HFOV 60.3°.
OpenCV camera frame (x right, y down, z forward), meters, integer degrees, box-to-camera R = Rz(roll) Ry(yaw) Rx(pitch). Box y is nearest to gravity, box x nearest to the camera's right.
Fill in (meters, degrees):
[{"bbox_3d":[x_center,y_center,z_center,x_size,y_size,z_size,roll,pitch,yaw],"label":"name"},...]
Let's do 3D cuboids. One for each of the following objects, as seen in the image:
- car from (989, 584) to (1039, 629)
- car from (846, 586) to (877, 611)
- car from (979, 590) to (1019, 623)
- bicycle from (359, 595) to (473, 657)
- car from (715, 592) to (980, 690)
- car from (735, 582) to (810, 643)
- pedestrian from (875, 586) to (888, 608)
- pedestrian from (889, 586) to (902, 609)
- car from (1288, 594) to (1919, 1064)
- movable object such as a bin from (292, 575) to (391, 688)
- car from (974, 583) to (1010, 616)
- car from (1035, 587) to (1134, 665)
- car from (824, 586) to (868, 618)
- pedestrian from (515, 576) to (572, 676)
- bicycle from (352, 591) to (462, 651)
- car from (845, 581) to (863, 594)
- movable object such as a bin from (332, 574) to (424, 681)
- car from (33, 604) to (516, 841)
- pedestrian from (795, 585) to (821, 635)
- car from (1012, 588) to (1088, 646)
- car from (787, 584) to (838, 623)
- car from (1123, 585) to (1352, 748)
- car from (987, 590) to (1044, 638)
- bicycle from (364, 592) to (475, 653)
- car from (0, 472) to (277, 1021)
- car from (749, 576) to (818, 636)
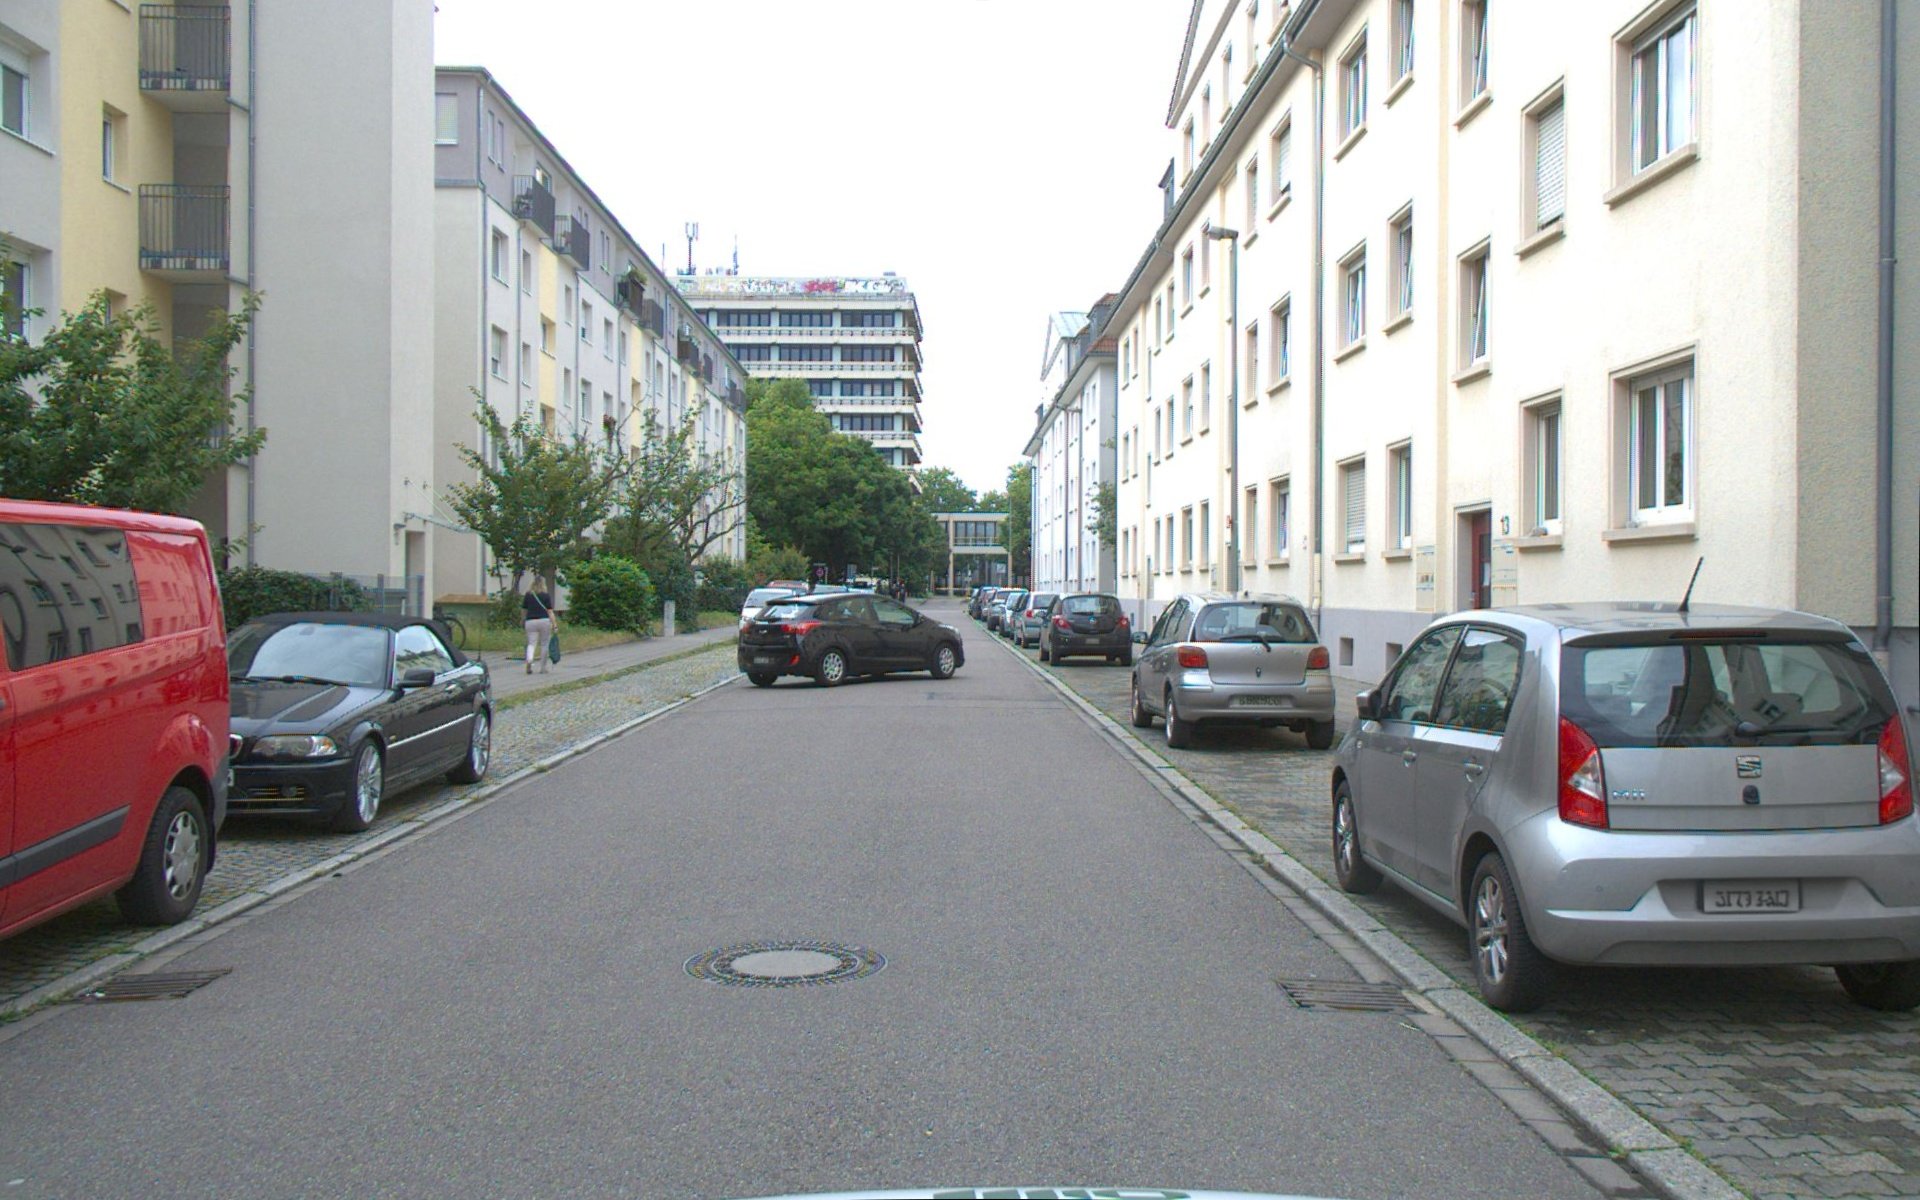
[{"bbox_3d":[2.051,0.235,64.128,1.783,1.671,4.091,1,0,0],"label":"car"},{"bbox_3d":[-6.401,-0.095,108.180,1.954,1.568,3.998,1,0,-3],"label":"car"},{"bbox_3d":[1.870,0.284,80.185,1.783,1.529,4.091,1,0,0],"label":"car"},{"bbox_3d":[-10.376,0.490,31.586,1.986,1.161,0.621,0,0,-11],"label":"bicycle"},{"bbox_3d":[-1.764,0.598,27.039,1.876,1.458,4.205,0,0,43],"label":"car"},{"bbox_3d":[-5.273,0.328,46.890,1.686,1.597,3.869,2,0,-1],"label":"car"},{"bbox_3d":[-5.978,-0.216,125.999,0.952,1.683,0.980,-1,0,-2],"label":"pedestrian"},{"bbox_3d":[-4.912,-0.193,125.121,0.952,1.683,0.980,-1,0,-2],"label":"pedestrian"},{"bbox_3d":[2.779,0.752,7.540,1.690,1.518,4.060,0,1,-1],"label":"car"},{"bbox_3d":[-8.295,0.410,22.233,0.787,1.454,1.288,1,0,2],"label":"movable object such as a bin"},{"bbox_3d":[1.647,-0.051,85.228,1.783,1.631,4.091,0,0,0],"label":"car"},{"bbox_3d":[2.547,0.496,34.606,1.690,1.544,4.060,0,0,-1],"label":"car"},{"bbox_3d":[-5.571,0.085,81.397,1.856,1.477,4.520,3,0,-1],"label":"car"},{"bbox_3d":[-6.966,0.428,27.680,0.784,1.638,0.946,0,0,-5],"label":"pedestrian"},{"bbox_3d":[-11.035,0.415,33.069,1.983,1.161,0.623,0,0,-4],"label":"bicycle"},{"bbox_3d":[-10.664,-1.267,166.321,1.632,1.356,3.395,1,1,-1],"label":"car"},{"bbox_3d":[-8.272,0.376,23.555,0.787,1.454,1.288,1,0,3],"label":"movable object such as a bin"},{"bbox_3d":[-4.715,0.748,12.159,1.832,1.346,4.360,2,0,-2],"label":"car"},{"bbox_3d":[-5.313,0.329,57.879,0.729,1.731,0.792,-1,0,-18],"label":"pedestrian"},{"bbox_3d":[2.398,0.421,44.810,1.811,1.475,3.832,0,0,-1],"label":"car"},{"bbox_3d":[-5.714,0.109,64.377,1.709,1.490,3.785,0,1,-1],"label":"car"},{"bbox_3d":[2.831,0.615,17.710,1.690,1.544,4.060,0,0,-1],"label":"car"},{"bbox_3d":[1.808,0.450,55.262,1.690,1.502,4.504,1,0,-1],"label":"car"},{"bbox_3d":[-10.506,0.438,32.206,1.986,1.161,0.621,0,0,-11],"label":"bicycle"},{"bbox_3d":[-4.519,0.497,6.103,2.108,1.988,4.919,2,0,-3],"label":"car"},{"bbox_3d":[-5.587,0.177,52.720,1.917,1.801,4.359,1,0,-3],"label":"car"}]
